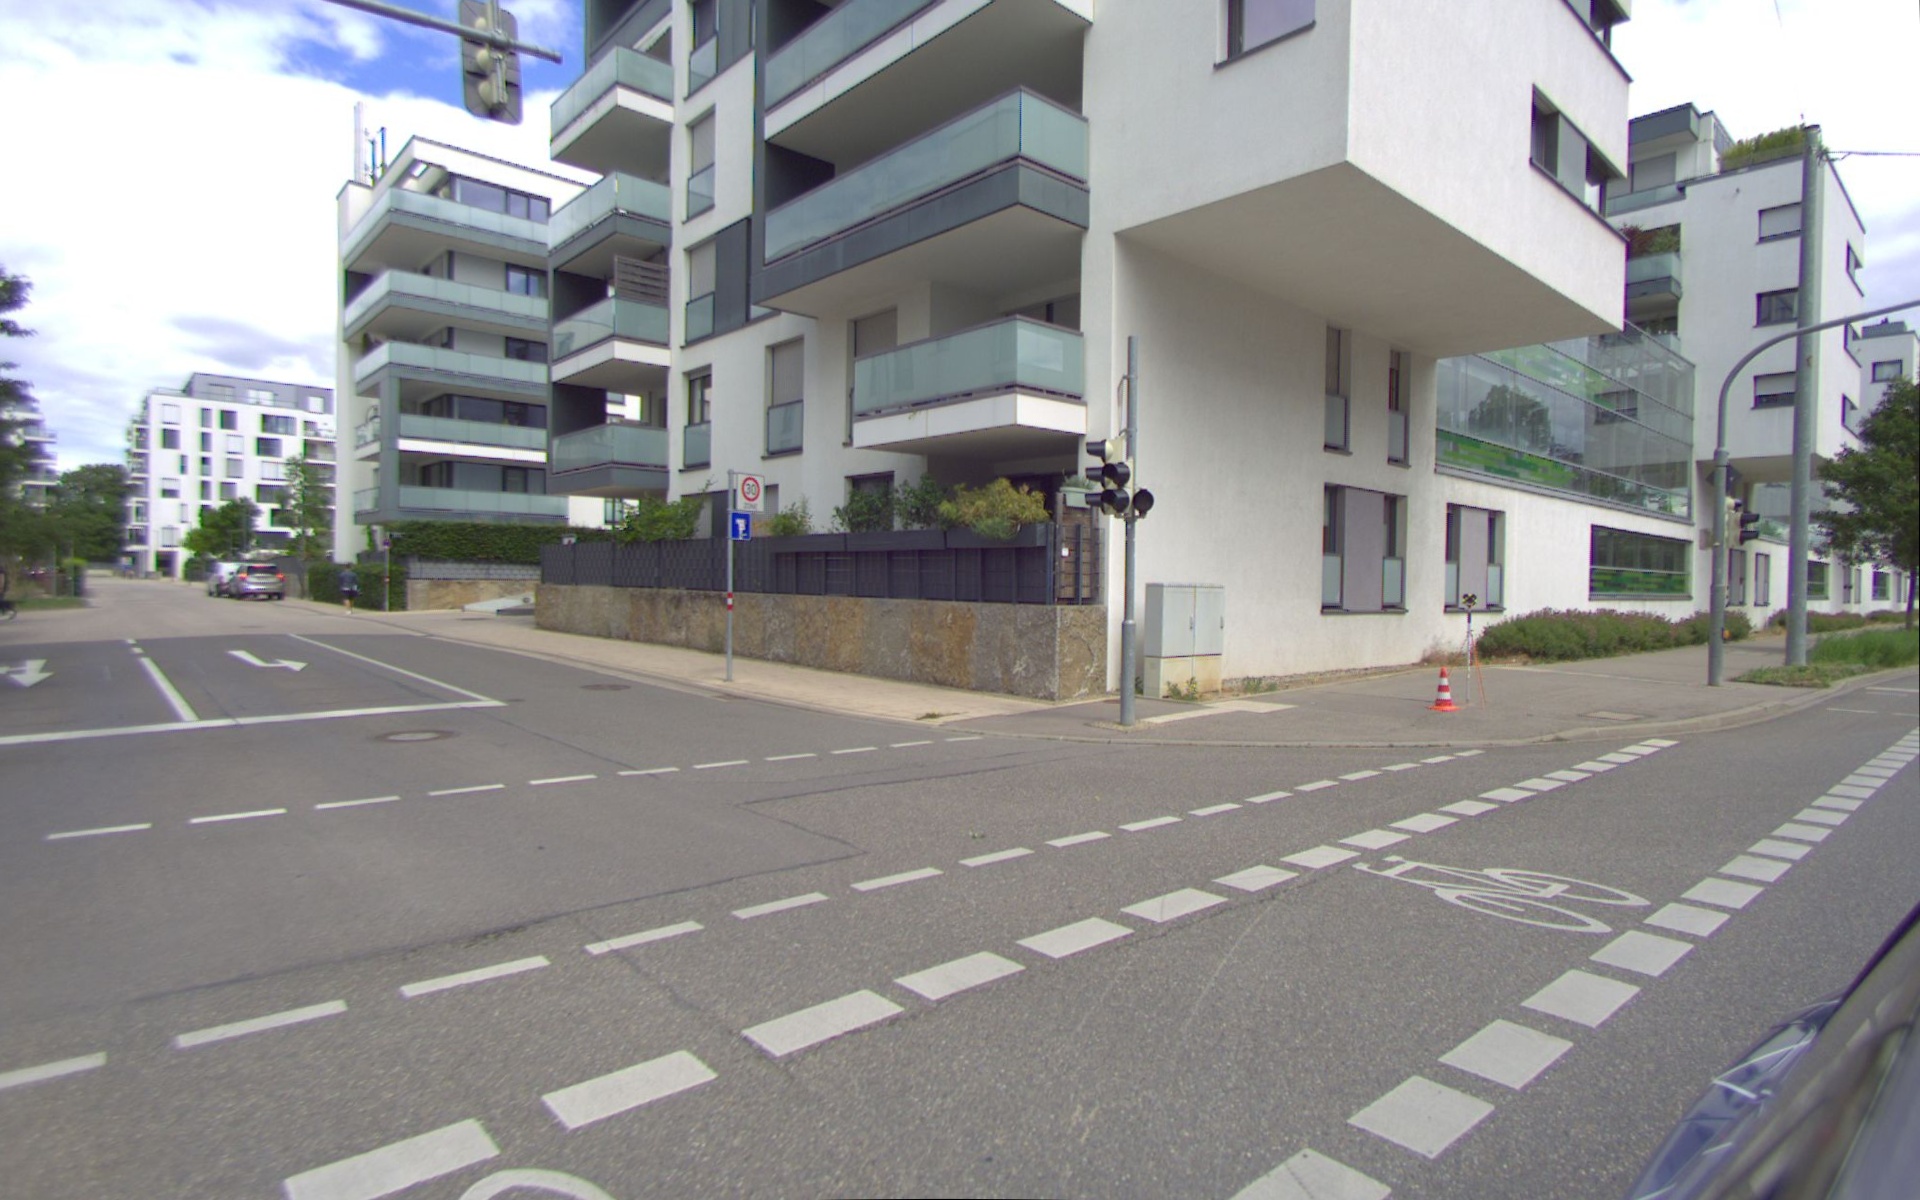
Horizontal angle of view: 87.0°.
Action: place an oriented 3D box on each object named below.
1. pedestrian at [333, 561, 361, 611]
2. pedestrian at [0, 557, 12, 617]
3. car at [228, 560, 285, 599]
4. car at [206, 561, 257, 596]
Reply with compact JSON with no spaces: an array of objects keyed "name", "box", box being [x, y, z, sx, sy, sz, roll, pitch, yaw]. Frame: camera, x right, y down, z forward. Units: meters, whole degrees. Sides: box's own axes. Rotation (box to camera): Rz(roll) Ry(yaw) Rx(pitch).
[{"name":"pedestrian","box":[-22.203,-0.514,36.641,0.652,1.784,0.717,-2,0,45]},{"name":"pedestrian","box":[-29.000,-0.389,30.467,0.620,1.796,0.606,-1,0,-40]},{"name":"car","box":[-34.645,-1.000,49.775,1.965,1.805,3.995,-2,0,-39]},{"name":"car","box":[-39.439,-1.147,54.748,1.965,1.805,3.995,-2,0,-39]}]
